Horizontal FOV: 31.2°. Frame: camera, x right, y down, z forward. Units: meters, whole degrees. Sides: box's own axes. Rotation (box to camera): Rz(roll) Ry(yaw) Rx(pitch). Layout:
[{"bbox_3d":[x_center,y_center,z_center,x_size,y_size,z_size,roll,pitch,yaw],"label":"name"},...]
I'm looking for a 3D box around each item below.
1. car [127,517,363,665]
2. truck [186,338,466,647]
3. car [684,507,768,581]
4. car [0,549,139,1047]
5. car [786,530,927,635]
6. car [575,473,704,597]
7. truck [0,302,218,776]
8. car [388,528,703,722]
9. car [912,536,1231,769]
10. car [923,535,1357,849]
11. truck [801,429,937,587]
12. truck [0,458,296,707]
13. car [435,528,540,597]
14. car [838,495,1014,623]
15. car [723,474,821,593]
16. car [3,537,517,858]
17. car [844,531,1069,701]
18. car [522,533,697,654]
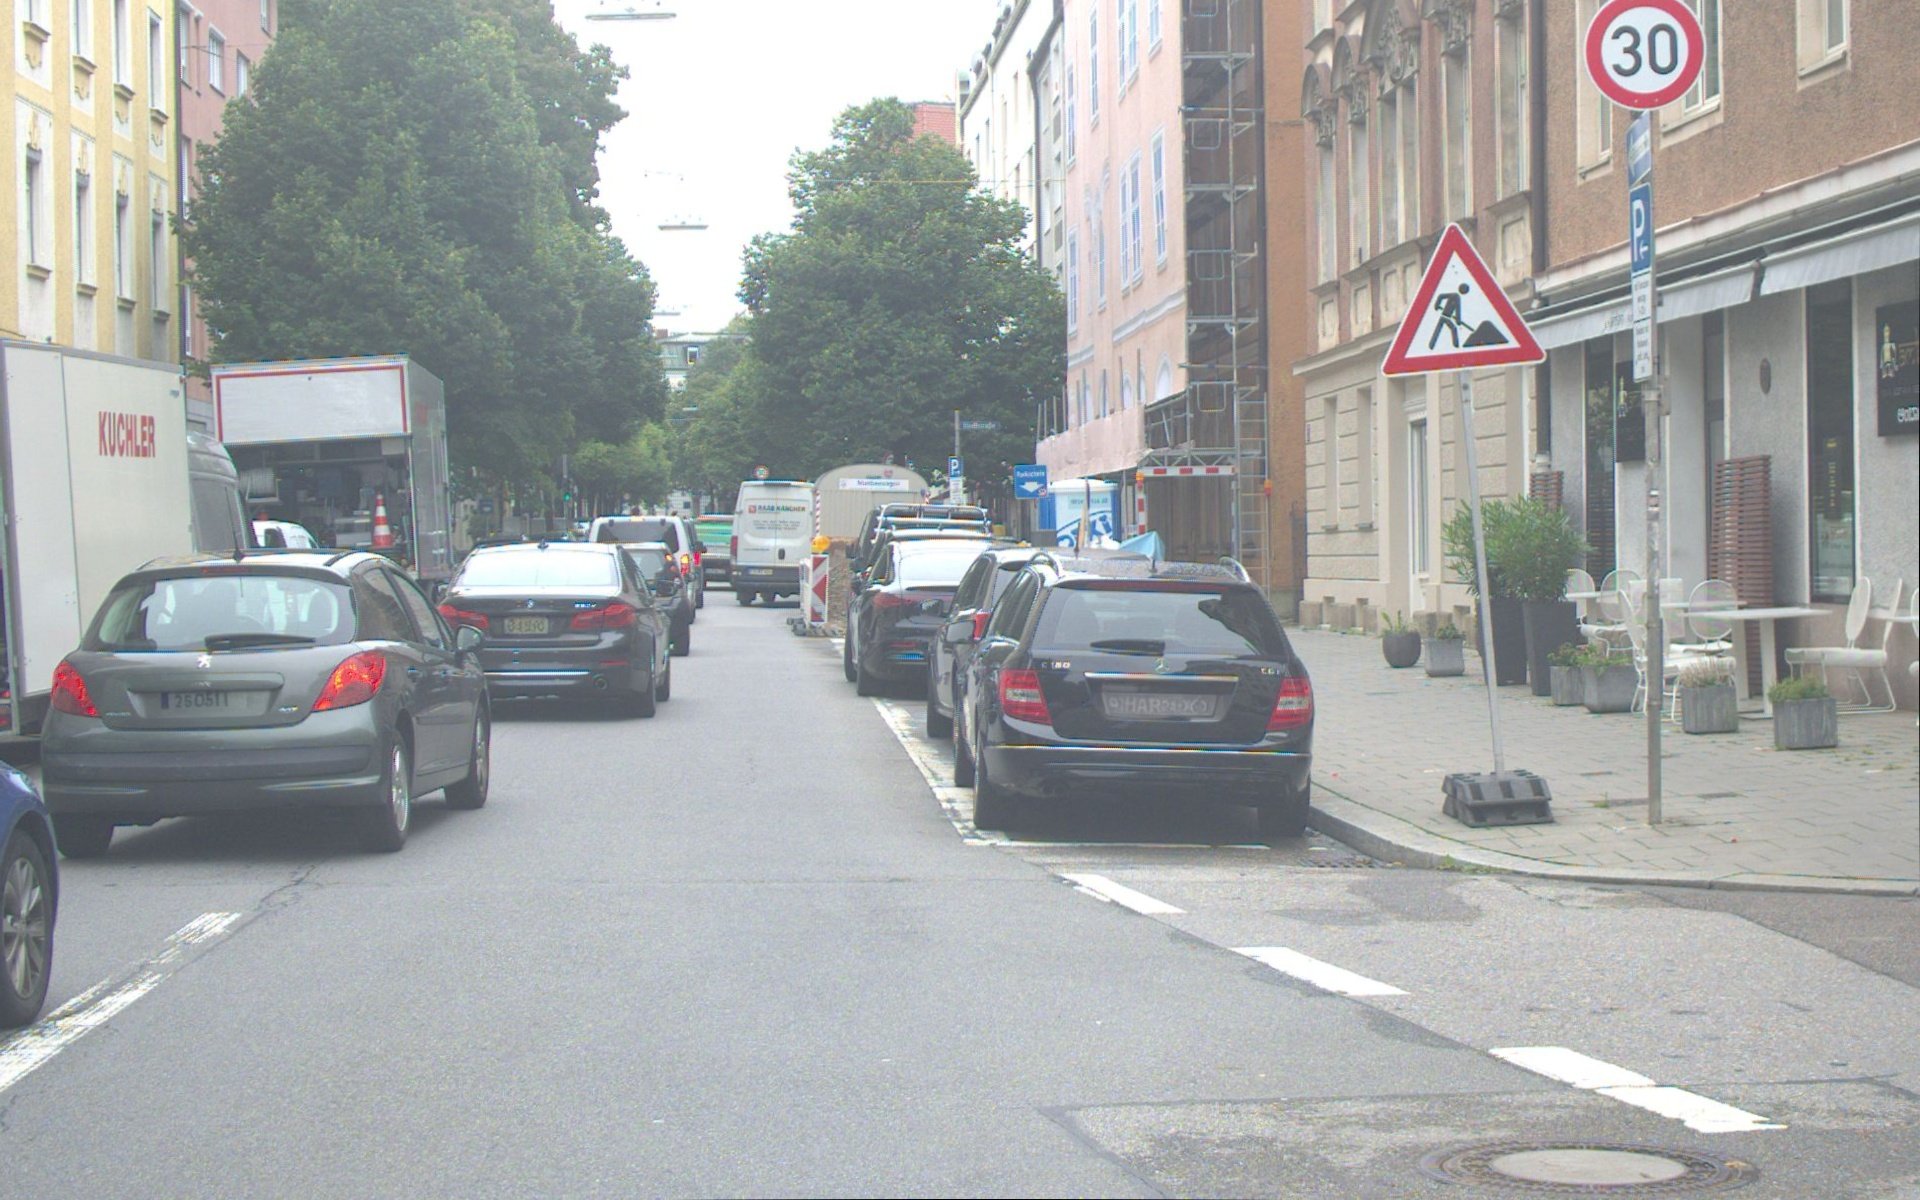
[{"bbox_3d":[-8.196,-0.136,39.758,1.990,1.605,4.141,0,1,-2],"label":"car"},{"bbox_3d":[-8.592,-1.443,47.390,3.012,3.938,6.997,0,1,-4],"label":"truck"},{"bbox_3d":[-6.168,-1.492,91.018,1.993,1.897,4.000,0,1,-1],"label":"car"},{"bbox_3d":[-3.861,0.608,9.055,1.987,1.449,4.734,-2,0,3],"label":"car"},{"bbox_3d":[-1.558,-0.290,51.208,1.990,1.424,4.141,-1,2,-2],"label":"car"},{"bbox_3d":[-5.572,-1.165,60.252,1.990,2.068,4.141,-1,2,-2],"label":"car"},{"bbox_3d":[-7.302,-0.472,24.274,2.773,2.863,7.203,-1,2,-2],"label":"truck"},{"bbox_3d":[-3.425,0.143,29.348,1.990,1.424,4.906,1,2,1],"label":"car"},{"bbox_3d":[0.714,0.314,24.923,1.844,1.424,4.141,2,2,-4],"label":"car"},{"bbox_3d":[0.865,0.418,19.001,1.844,1.424,4.184,2,2,-4],"label":"car"},{"bbox_3d":[-1.834,-1.777,67.307,2.491,2.963,5.328,0,1,-3],"label":"truck"},{"bbox_3d":[-7.741,-0.196,32.389,2.286,2.164,4.807,0,1,-3],"label":"truck"},{"bbox_3d":[-10.115,-0.821,73.813,1.939,1.443,3.867,0,1,-3],"label":"car"},{"bbox_3d":[-0.465,-0.535,41.459,1.990,1.424,4.141,-1,2,-2],"label":"car"},{"bbox_3d":[-4.024,-1.429,74.276,1.939,2.472,4.783,0,1,-1],"label":"car"},{"bbox_3d":[-3.503,0.417,17.946,1.759,1.456,4.074,-1,1,1],"label":"car"},{"bbox_3d":[-0.102,0.106,33.454,1.844,1.424,4.307,2,2,-4],"label":"car"},{"bbox_3d":[-4.526,-0.127,44.964,1.990,1.424,4.141,-1,2,-2],"label":"car"}]
